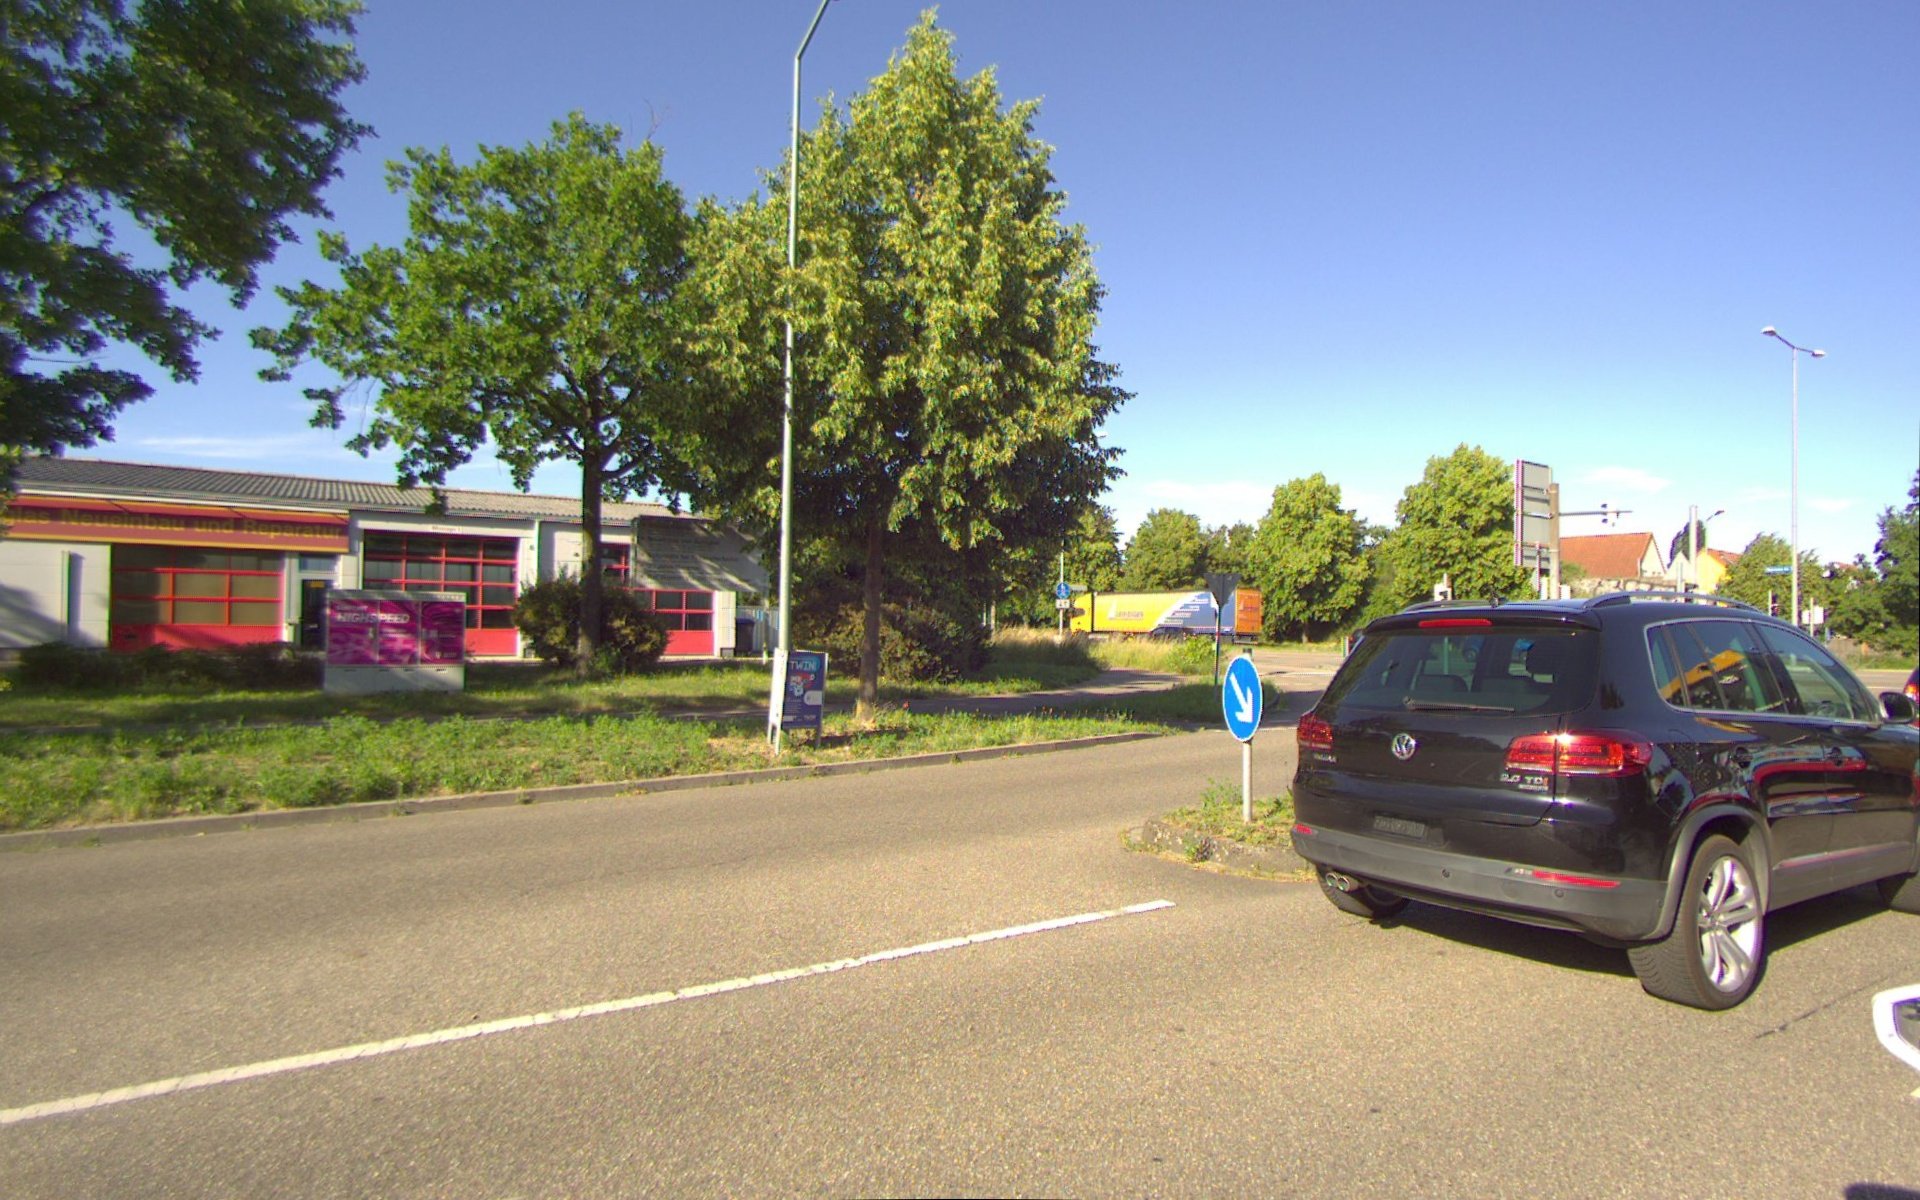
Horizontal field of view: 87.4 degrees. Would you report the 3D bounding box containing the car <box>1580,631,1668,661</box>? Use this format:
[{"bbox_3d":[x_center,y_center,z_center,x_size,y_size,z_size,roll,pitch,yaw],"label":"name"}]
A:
[{"bbox_3d":[34.760,2.396,52.660,3.522,1.478,1.578,0,-2,9],"label":"car"}]

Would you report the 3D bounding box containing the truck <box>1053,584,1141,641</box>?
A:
[{"bbox_3d":[10.658,0.917,78.518,3.408,4.253,6.177,2,0,-36],"label":"truck"}]

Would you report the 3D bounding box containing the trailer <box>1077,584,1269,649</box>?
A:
[{"bbox_3d":[14.904,1.022,72.537,3.407,4.241,15.205,2,0,-36],"label":"trailer"}]

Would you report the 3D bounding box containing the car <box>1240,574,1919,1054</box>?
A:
[{"bbox_3d":[3.554,0.824,5.316,3.954,1.675,1.763,1,-3,-31],"label":"car"}]

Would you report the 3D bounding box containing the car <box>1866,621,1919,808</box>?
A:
[{"bbox_3d":[10.232,1.008,9.216,3.954,1.610,1.753,1,-3,-31],"label":"car"}]

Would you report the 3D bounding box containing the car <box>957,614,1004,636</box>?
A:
[{"bbox_3d":[1.688,2.080,84.785,1.929,1.728,3.959,2,0,-36],"label":"car"}]

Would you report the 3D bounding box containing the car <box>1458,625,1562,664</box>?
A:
[{"bbox_3d":[23.763,1.903,43.495,1.733,1.581,3.559,2,-2,-35],"label":"car"}]
